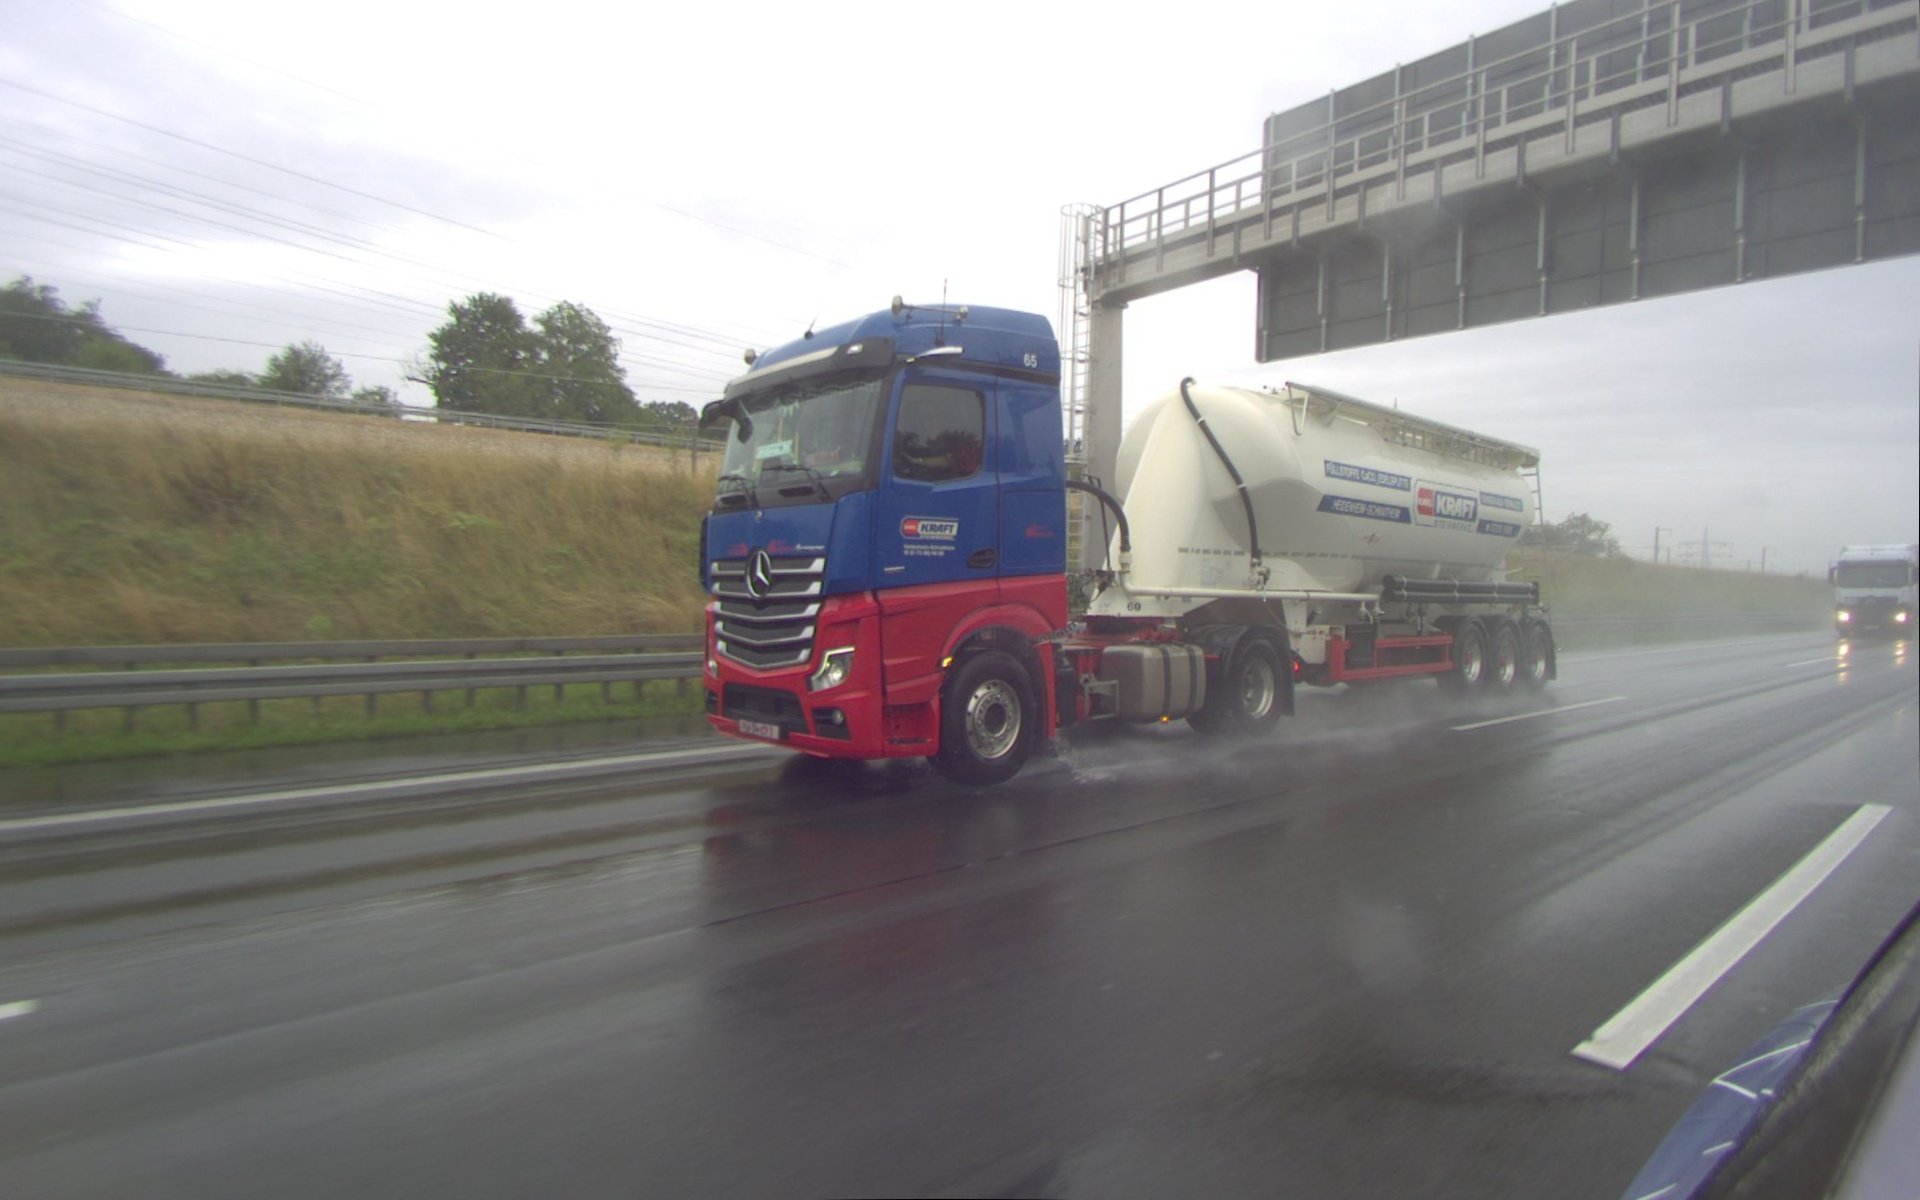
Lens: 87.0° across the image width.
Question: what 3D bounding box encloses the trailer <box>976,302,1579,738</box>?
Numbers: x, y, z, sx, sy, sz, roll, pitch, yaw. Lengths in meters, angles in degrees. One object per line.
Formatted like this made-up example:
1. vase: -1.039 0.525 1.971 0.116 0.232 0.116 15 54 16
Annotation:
1. trailer: 5.080 -0.659 13.657 10.873 3.932 2.501 1 -1 -41

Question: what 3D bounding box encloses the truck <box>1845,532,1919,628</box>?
1. truck: 41.213 -0.785 44.613 6.089 3.939 2.456 1 -1 -40

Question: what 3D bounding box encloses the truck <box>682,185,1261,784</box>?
1. truck: 0.319 -0.758 9.407 4.987 4.034 2.501 1 -1 -41

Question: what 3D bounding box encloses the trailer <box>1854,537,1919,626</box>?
1. trailer: 46.722 -0.704 49.416 16.252 3.814 2.484 1 -1 -41
